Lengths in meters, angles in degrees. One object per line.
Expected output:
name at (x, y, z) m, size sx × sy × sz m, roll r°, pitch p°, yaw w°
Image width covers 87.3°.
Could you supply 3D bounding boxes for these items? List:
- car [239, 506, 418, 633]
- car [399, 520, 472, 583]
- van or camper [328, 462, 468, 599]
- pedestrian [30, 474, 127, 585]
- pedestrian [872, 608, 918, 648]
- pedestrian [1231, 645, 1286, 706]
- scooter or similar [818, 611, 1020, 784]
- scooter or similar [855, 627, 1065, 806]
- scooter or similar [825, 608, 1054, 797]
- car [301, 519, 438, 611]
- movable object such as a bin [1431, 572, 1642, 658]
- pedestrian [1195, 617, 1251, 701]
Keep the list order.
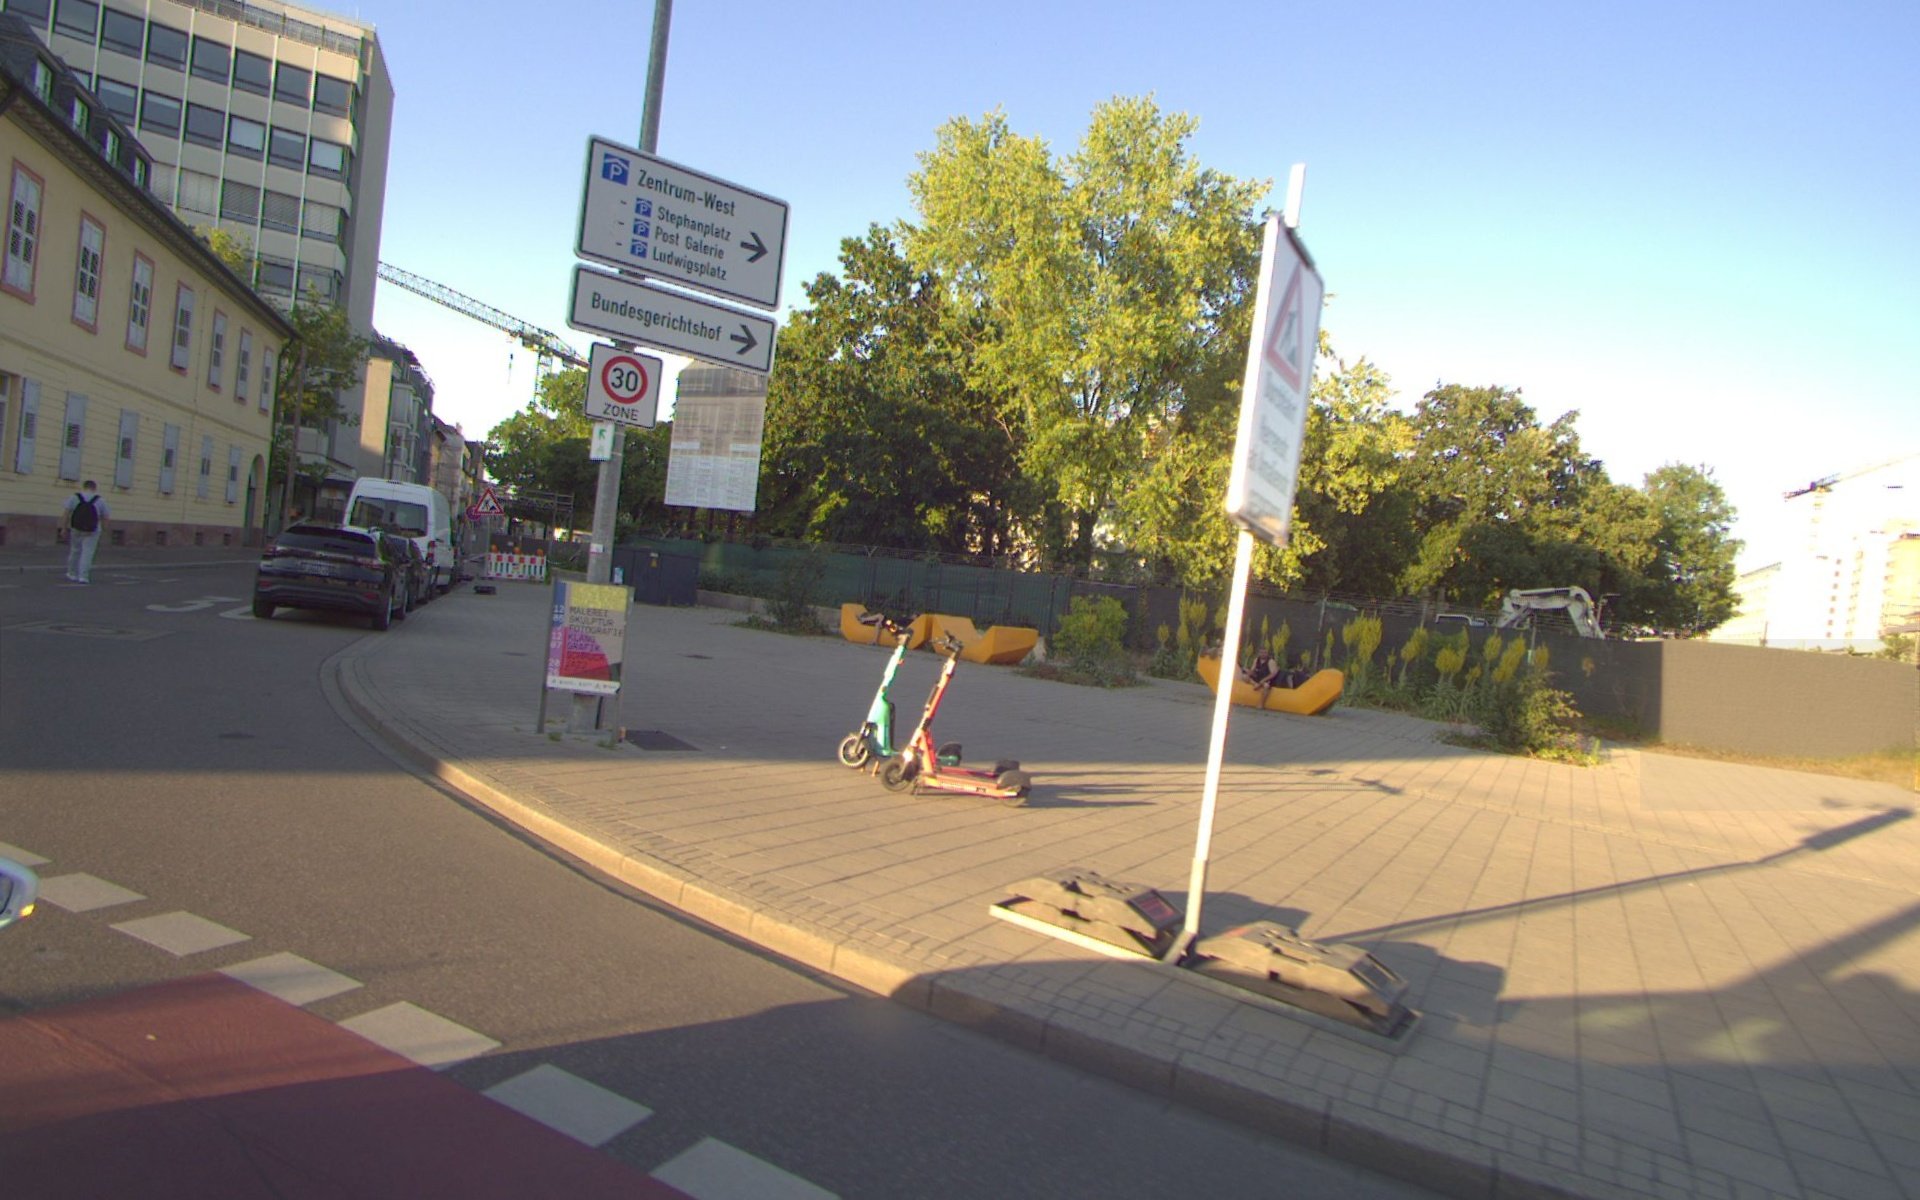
car at (-9.842, -0.511, 16.008) m, size 1.761 × 1.563 × 4.263 m, roll 6°, pitch 0°, yaw -25°
car at (-18.096, -1.678, 34.866) m, size 1.695 × 1.872 × 4.000 m, roll 7°, pitch 0°, yaw -22°
van or camper at (-14.064, -1.664, 25.608) m, size 2.055 × 2.809 × 6.416 m, roll 6°, pitch 0°, yaw -22°
pedestrian at (-15.109, -1.193, 17.270) m, size 0.866 × 1.746 × 0.825 m, roll 7°, pitch 1°, yaw -20°
pedestrian at (-1.663, 0.715, 25.883) m, size 0.963 × 0.904 × 0.562 m, roll 7°, pitch 1°, yaw 13°
pedestrian at (6.291, 1.582, 21.177) m, size 0.723 × 1.172 × 0.987 m, roll 7°, pitch 1°, yaw 34°
scooter or similar at (-0.358, 0.823, 8.544) m, size 1.503 × 1.276 × 0.610 m, roll 6°, pitch 1°, yaw -16°
scooter or similar at (-0.004, 0.875, 7.533) m, size 1.383 × 1.181 × 0.459 m, roll 6°, pitch 2°, yaw -17°
scooter or similar at (-0.163, 0.819, 8.010) m, size 1.628 × 1.309 × 0.459 m, roll 7°, pitch 1°, yaw -17°
car at (-11.748, -0.732, 20.283) m, size 1.712 × 1.447 × 4.448 m, roll 7°, pitch 0°, yaw -23°
movable object such as a bin at (17.023, 0.386, 30.025) m, size 1.978 × 2.039 × 4.983 m, roll 6°, pitch 1°, yaw -31°
pedestrian at (5.629, 1.255, 21.523) m, size 0.752 × 1.686 × 0.819 m, roll 7°, pitch 2°, yaw 34°
